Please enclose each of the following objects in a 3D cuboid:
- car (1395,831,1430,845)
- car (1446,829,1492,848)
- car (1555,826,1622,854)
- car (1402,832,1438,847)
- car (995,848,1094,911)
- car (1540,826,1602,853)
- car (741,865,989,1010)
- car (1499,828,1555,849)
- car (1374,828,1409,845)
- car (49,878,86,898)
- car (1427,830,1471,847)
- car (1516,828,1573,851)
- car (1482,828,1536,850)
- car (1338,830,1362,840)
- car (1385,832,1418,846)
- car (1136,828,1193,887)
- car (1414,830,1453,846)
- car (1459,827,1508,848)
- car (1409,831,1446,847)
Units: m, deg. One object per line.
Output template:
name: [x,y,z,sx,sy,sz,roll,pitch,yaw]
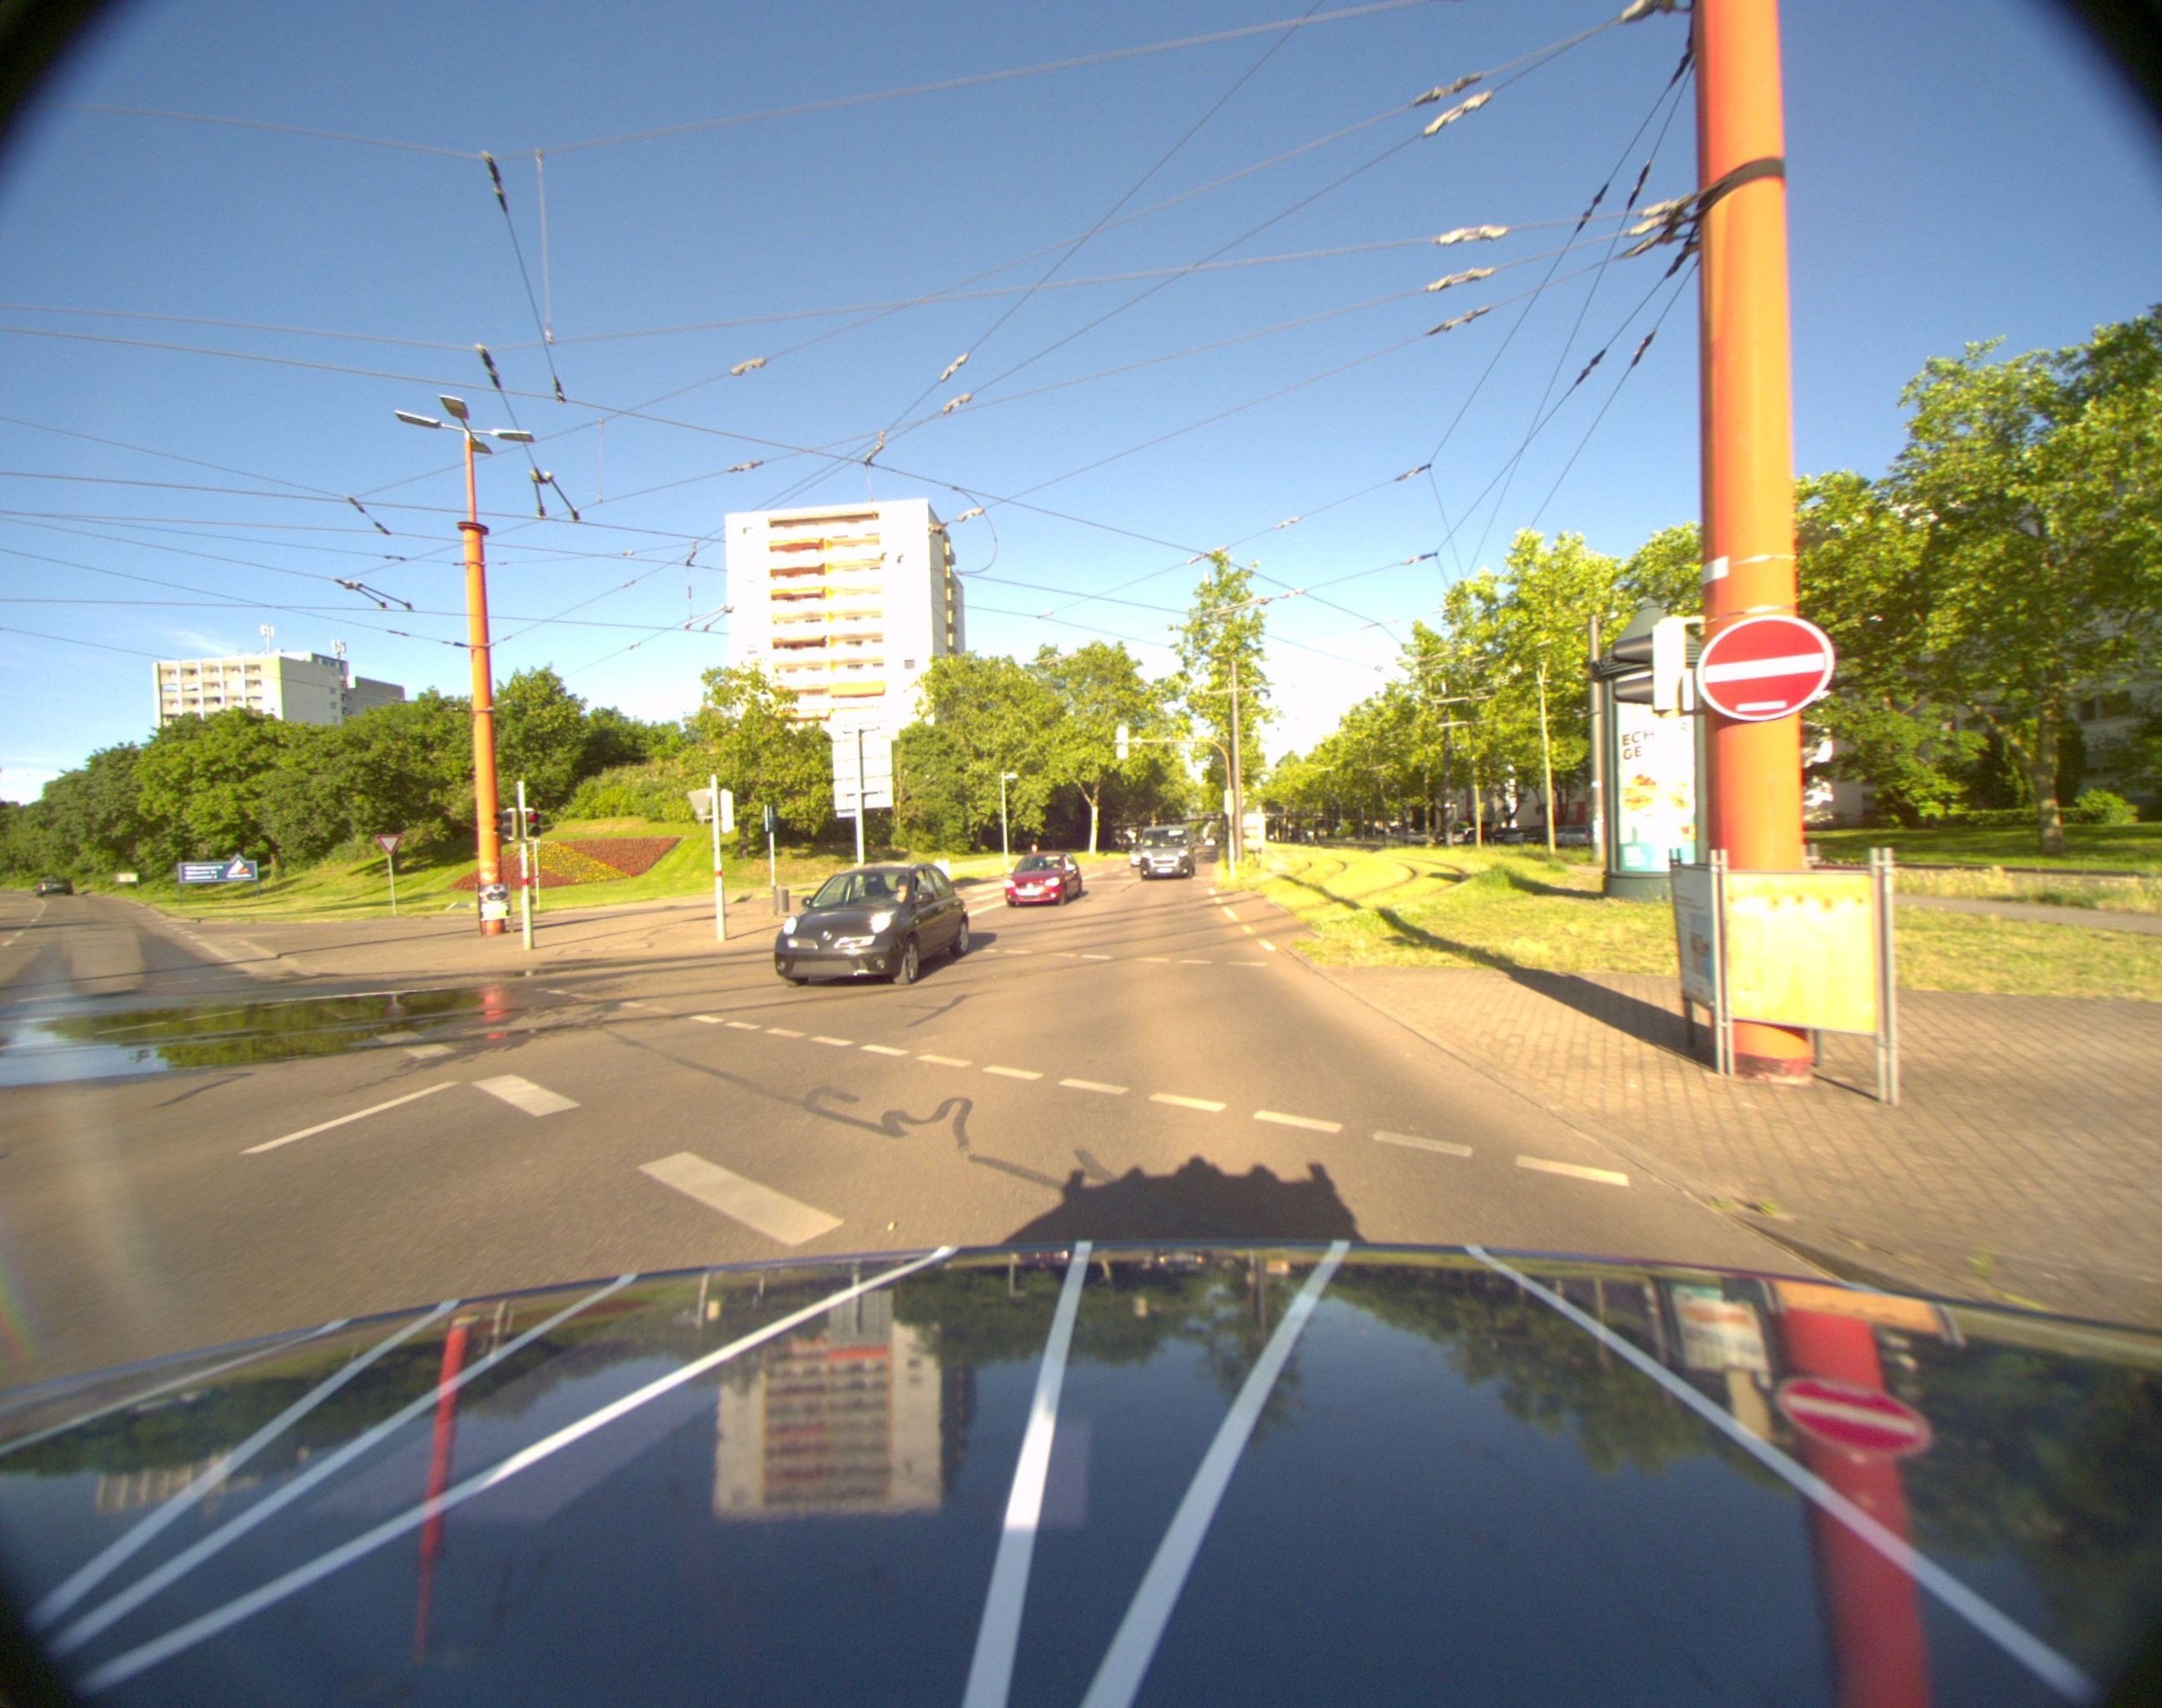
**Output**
car: [39.482,-1.924,90.407,4.055,1.490,1.791,-3,0,-33]
car: [35.601,-1.402,69.751,4.055,1.490,1.792,-3,0,-30]
car: [30.948,-0.851,46.347,4.055,1.478,1.811,-3,0,-31]
car: [39.161,-1.639,87.676,4.055,1.490,1.791,-3,0,-33]
car: [-0.933,0.650,22.239,1.770,1.549,4.729,-2,1,11]
car: [32.192,-0.957,49.919,4.055,1.478,1.760,-3,0,-31]
car: [-2.752,0.995,10.949,1.738,1.474,4.624,-2,1,6]
car: [33.001,-1.156,56.211,4.055,1.380,1.791,-3,0,-31]
car: [40.757,-2.327,99.677,4.439,1.908,2.017,-3,0,-33]
car: [-95.450,3.231,71.548,4.680,1.694,2.004,-2,2,36]
car: [35.659,-1.511,73.668,4.055,1.490,1.792,-3,0,-30]
car: [32.231,-1.009,52.855,4.055,1.380,1.674,-3,0,-31]
car: [33.466,-1.152,59.343,4.055,1.490,1.792,-3,0,-30]
car: [46.794,-3.233,132.042,4.055,1.490,1.791,-3,0,-33]
car: [40.867,-1.899,96.836,4.055,1.490,1.791,-3,0,-33]
car: [3.655,0.069,32.264,2.038,2.192,5.664,-2,1,9]
car: [37.496,-1.667,80.733,4.055,1.490,1.791,-3,0,-33]
car: [35.091,-1.444,66.280,4.055,1.654,1.792,-3,0,-30]
car: [38.529,-1.694,84.536,4.055,1.490,1.791,-3,0,-33]
